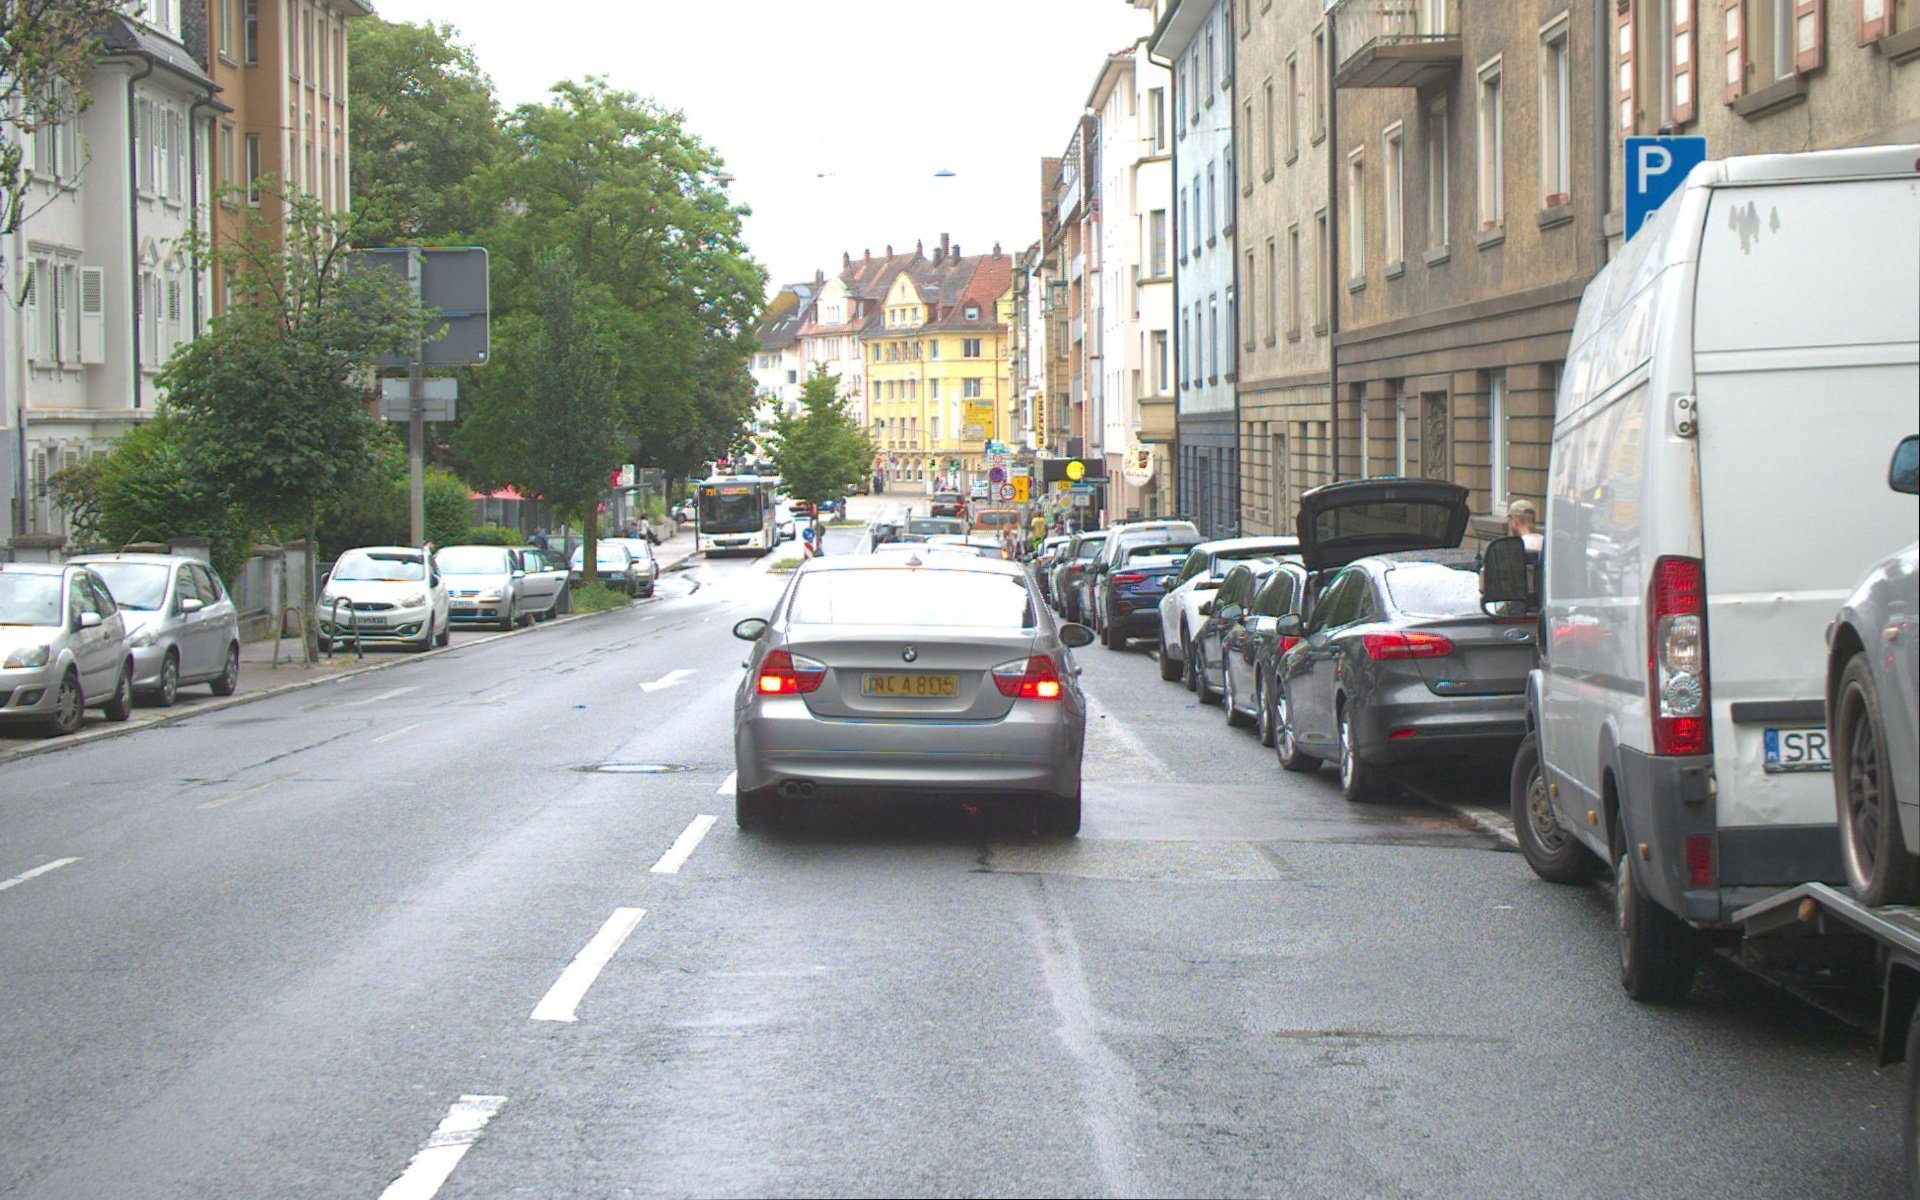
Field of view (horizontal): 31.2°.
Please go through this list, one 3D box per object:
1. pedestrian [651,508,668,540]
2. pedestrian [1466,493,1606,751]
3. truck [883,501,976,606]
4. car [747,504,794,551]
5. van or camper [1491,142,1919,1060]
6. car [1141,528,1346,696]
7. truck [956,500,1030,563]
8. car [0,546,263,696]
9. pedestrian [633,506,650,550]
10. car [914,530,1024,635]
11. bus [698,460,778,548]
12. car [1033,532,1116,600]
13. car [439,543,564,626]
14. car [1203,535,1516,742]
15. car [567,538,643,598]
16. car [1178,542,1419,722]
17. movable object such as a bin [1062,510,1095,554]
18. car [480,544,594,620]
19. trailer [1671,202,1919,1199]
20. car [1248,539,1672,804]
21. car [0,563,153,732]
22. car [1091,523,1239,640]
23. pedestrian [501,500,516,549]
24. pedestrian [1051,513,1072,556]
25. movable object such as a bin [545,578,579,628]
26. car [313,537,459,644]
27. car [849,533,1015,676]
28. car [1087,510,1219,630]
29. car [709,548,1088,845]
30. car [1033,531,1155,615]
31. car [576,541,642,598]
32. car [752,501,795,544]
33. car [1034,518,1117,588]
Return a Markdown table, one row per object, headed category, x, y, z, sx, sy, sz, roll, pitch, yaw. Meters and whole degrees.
| category | x | y | z | sx | sy | sz | roll | pitch | yaw |
| --- | --- | --- | --- | --- | --- | --- | --- | --- | --- |
| pedestrian | -13.065 | -3.304 | 149.642 | 0.619 | 1.373 | 0.544 | 3 | 0 | 1 |
| pedestrian | 4.072 | 0.152 | 24.281 | 0.712 | 1.781 | 0.685 | -2 | 0 | 32 |
| truck | -0.833 | -1.193 | 89.490 | 2.216 | 2.535 | 4.780 | 3 | 0 | -2 |
| car | -8.845 | -3.360 | 160.657 | 1.993 | 2.007 | 4.000 | 4 | 0 | -2 |
| van or camper | 3.340 | -0.068 | 13.248 | 2.185 | 2.690 | 6.418 | -1 | 1 | 6 |
| car | 3.005 | 0.091 | 37.177 | 1.632 | 1.633 | 4.196 | 3 | 1 | -2 |
| truck | 1.206 | -2.510 | 126.551 | 2.215 | 2.109 | 4.653 | 4 | 1 | -4 |
| car | -8.442 | 0.192 | 35.248 | 1.601 | 1.446 | 3.887 | 0 | 0 | 3 |
| pedestrian | -12.438 | -2.811 | 134.268 | 0.542 | 1.703 | 0.466 | 3 | 0 | -7 |
| car | 0.152 | -0.243 | 48.833 | 1.435 | 1.352 | 3.762 | 3 | 0 | 1 |
| bus | -8.976 | -3.836 | 140.013 | 2.681 | 3.189 | 11.957 | 3 | 0 | -2 |
| car | 2.747 | -0.849 | 83.110 | 1.818 | 1.552 | 4.293 | -2 | 1 | 0 |
| car | -8.081 | -0.299 | 60.888 | 1.682 | 1.385 | 3.909 | 1 | 1 | 0 |
| car | 3.033 | 0.260 | 26.995 | 1.777 | 1.474 | 4.588 | 0 | 0 | -2 |
| car | -8.896 | -0.817 | 86.266 | 1.653 | 1.449 | 3.943 | 0 | 1 | -2 |
| car | 3.047 | 0.250 | 31.603 | 1.632 | 1.473 | 3.735 | 3 | 1 | -2 |
| movable object such as a bin | 4.609 | -2.640 | 133.702 | 1.122 | 1.697 | 1.434 | -1 | 0 | -3 |
| car | -8.117 | -0.360 | 66.263 | 1.682 | 1.385 | 3.936 | -1 | 1 | 0 |
| trailer | 2.813 | 0.295 | 6.502 | 1.993 | 2.145 | 5.072 | -2 | 2 | 2 |
| car | 2.972 | 0.385 | 21.313 | 1.777 | 1.474 | 4.190 | 0 | 0 | -3 |
| car | -8.302 | 0.378 | 30.163 | 1.600 | 1.392 | 3.888 | 0 | 0 | -1 |
| car | 2.856 | -0.300 | 48.661 | 1.790 | 1.543 | 4.226 | -1 | 1 | 0 |
| pedestrian | -16.786 | -2.792 | 127.751 | 0.464 | 1.783 | 0.545 | 3 | 0 | -7 |
| pedestrian | 3.963 | -2.552 | 134.130 | 0.750 | 1.655 | 0.754 | 3 | 0 | 3 |
| movable object such as a bin | -8.328 | 0.063 | 71.967 | 0.630 | 1.054 | 0.600 | 0 | 0 | 0 |
| car | -8.440 | -0.144 | 50.809 | 1.645 | 1.503 | 3.797 | 0 | 0 | -2 |
| car | -0.347 | 0.036 | 37.542 | 1.601 | 1.415 | 3.288 | 3 | 0 | -3 |
| car | 3.053 | -0.502 | 55.141 | 1.790 | 1.811 | 4.080 | -1 | 1 | -1 |
| car | -0.314 | 0.452 | 17.842 | 1.756 | 1.358 | 3.165 | 2 | 0 | -1 |
| car | 2.370 | -0.505 | 61.898 | 1.840 | 1.404 | 4.388 | -2 | 1 | -2 |
| car | -9.233 | -0.827 | 90.617 | 1.631 | 1.449 | 3.840 | 0 | 1 | -4 |
| car | -9.513 | -3.938 | 175.820 | 1.993 | 2.007 | 4.000 | 3 | 0 | -2 |
| car | 2.498 | -1.043 | 75.234 | 1.583 | 1.425 | 3.595 | -3 | 1 | -1 |
